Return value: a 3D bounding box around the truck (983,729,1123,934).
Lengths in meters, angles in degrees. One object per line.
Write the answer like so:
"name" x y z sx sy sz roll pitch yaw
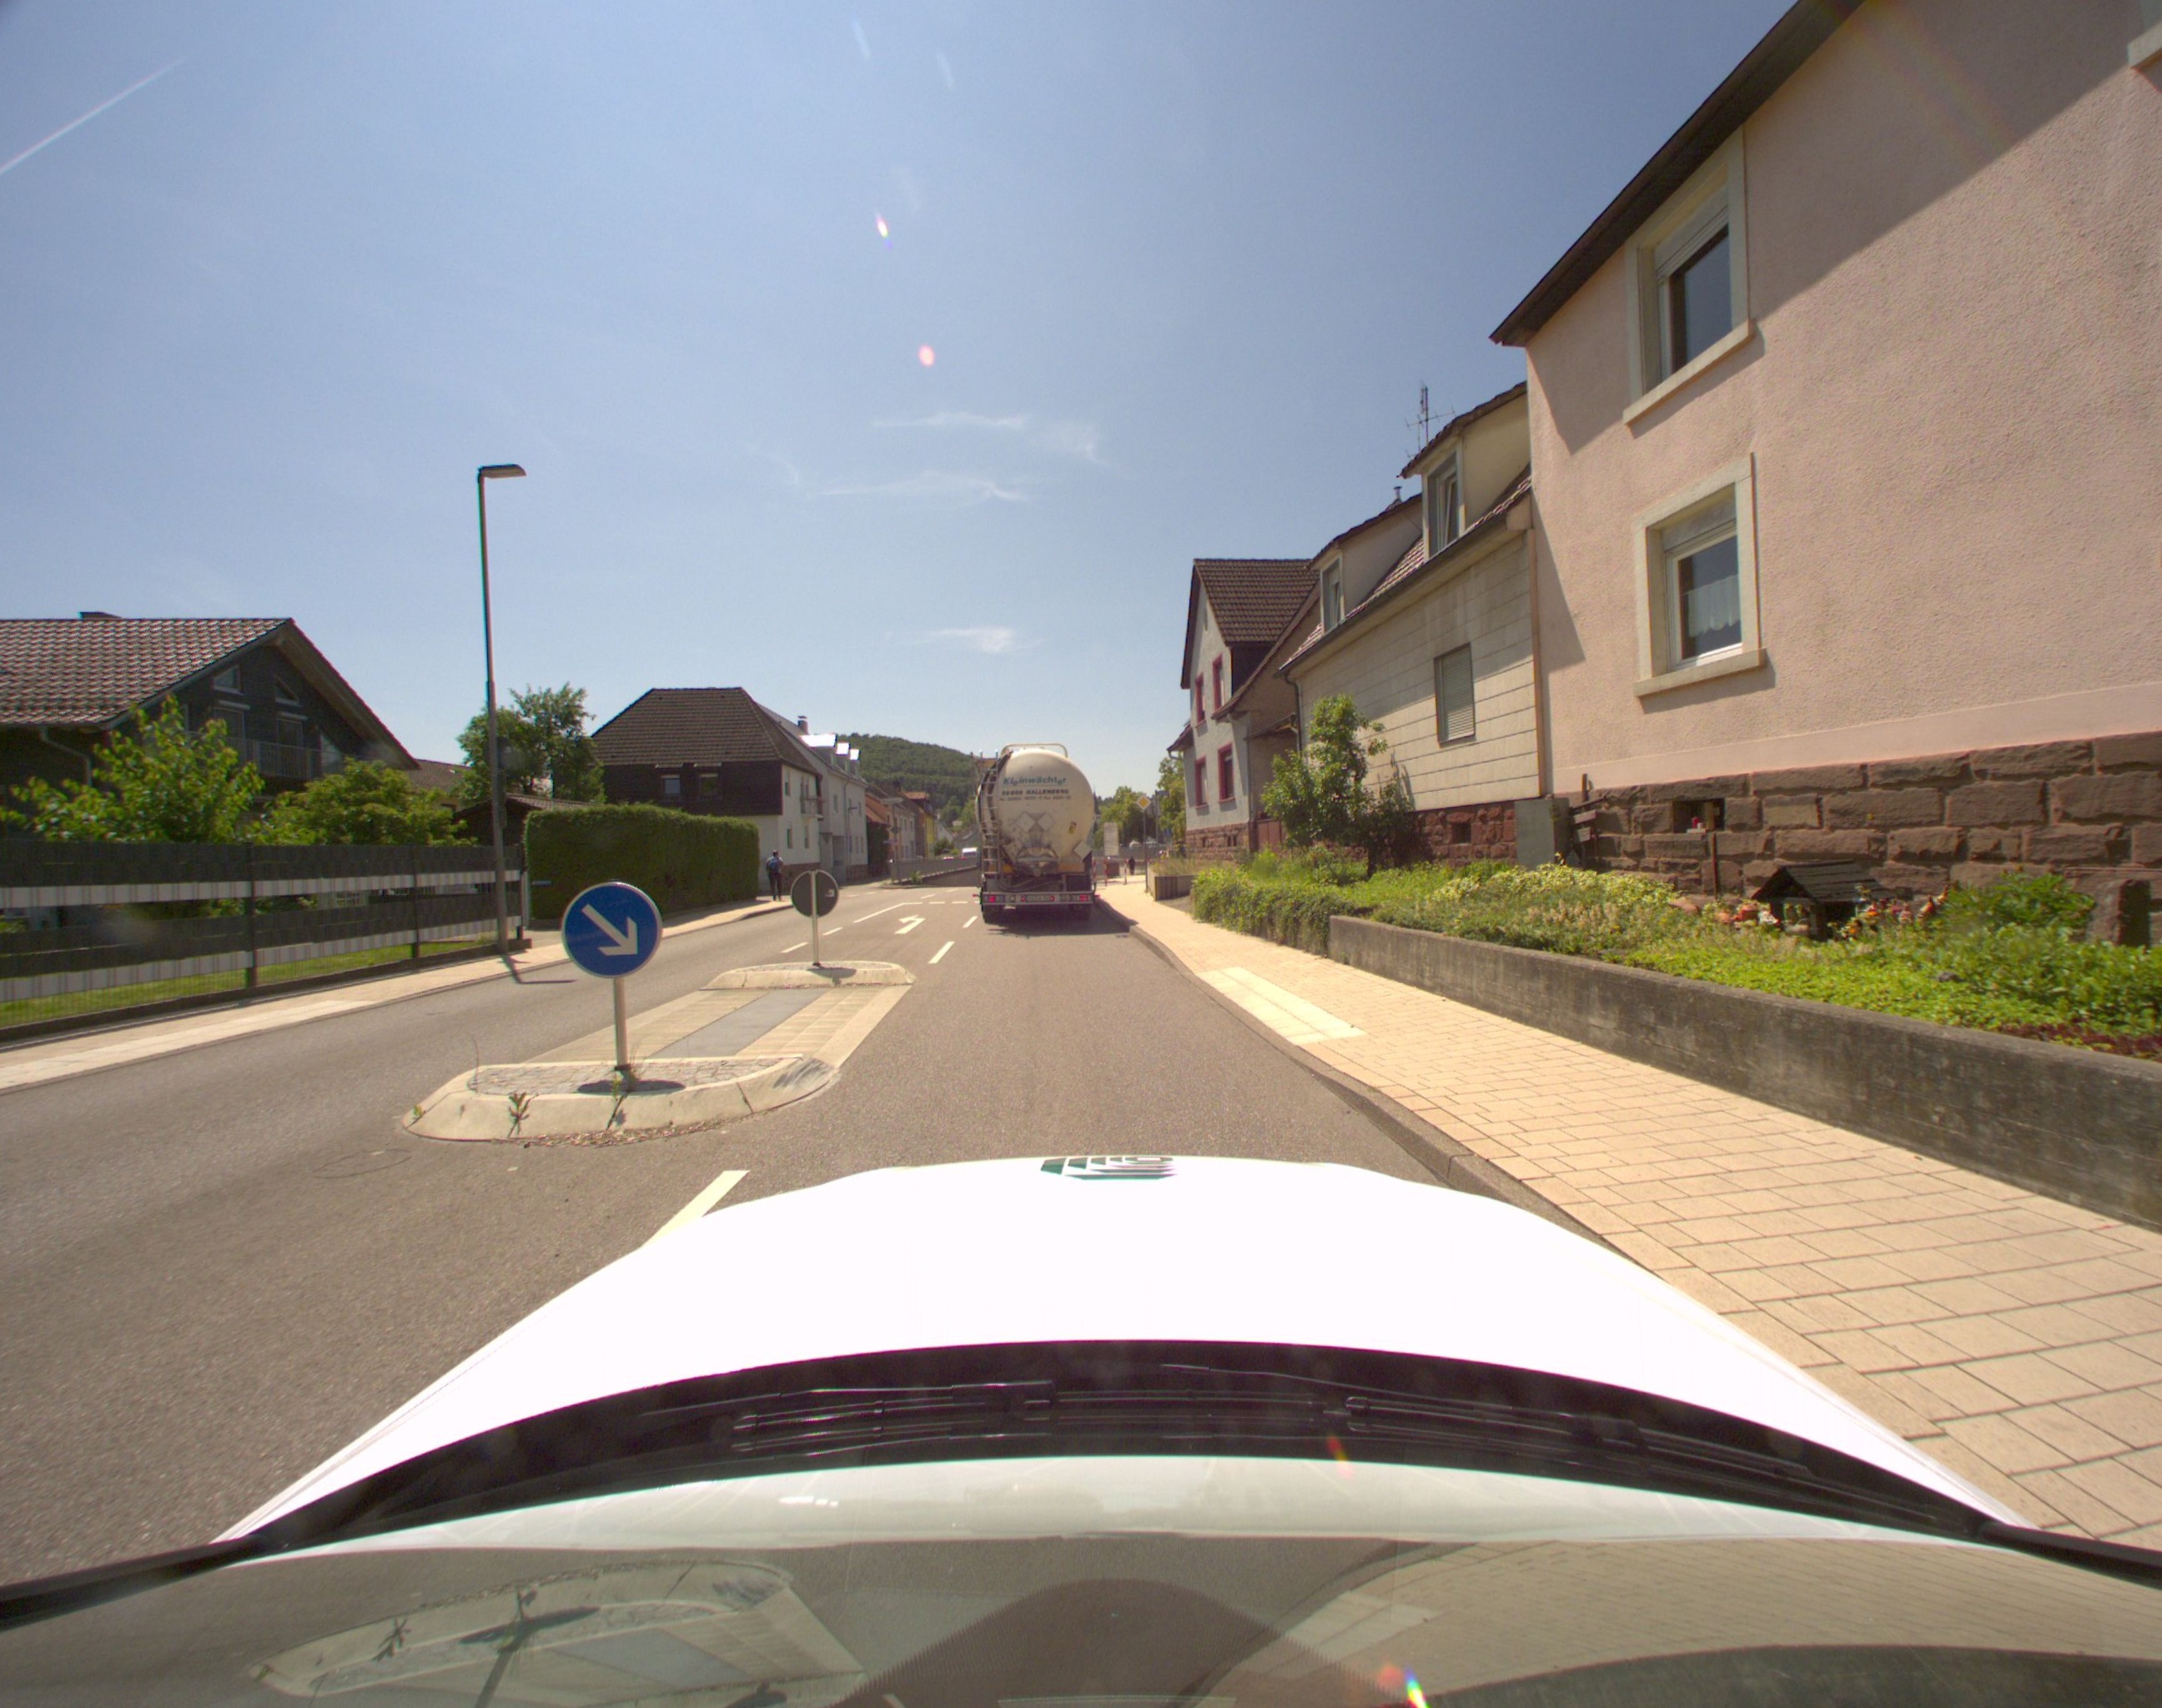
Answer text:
"truck" -1.036 -0.465 21.801 2.746 4.056 10.869 -1 0 -5

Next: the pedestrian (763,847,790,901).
"pedestrian" -10.592 0.693 28.354 0.712 1.823 0.896 0 -1 -9

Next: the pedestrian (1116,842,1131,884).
"pedestrian" 1.755 0.362 33.474 0.569 1.694 0.720 -1 -1 -1
